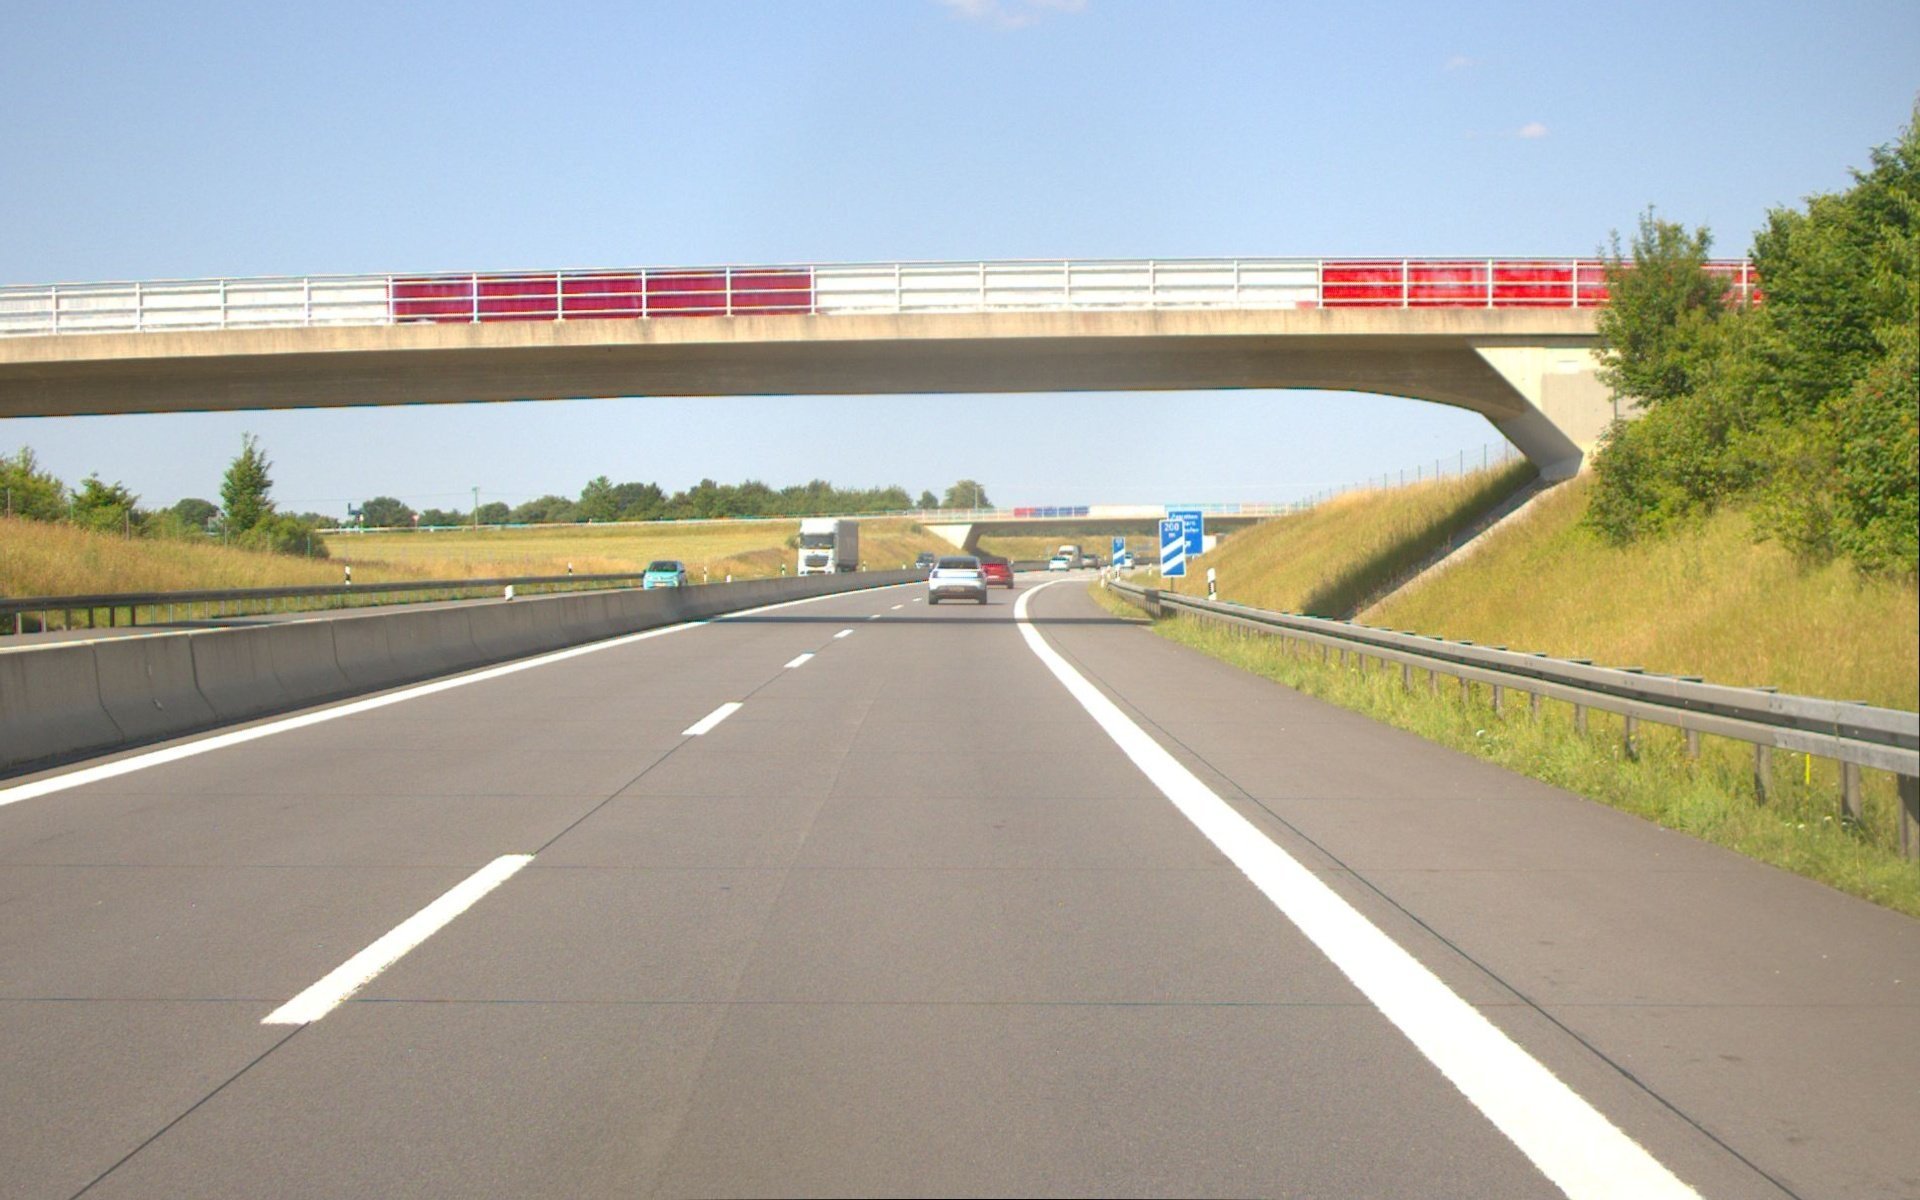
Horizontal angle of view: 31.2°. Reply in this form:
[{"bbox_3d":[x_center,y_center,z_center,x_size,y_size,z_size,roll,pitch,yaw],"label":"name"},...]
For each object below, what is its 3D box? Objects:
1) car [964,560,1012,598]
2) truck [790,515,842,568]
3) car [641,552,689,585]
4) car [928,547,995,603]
[{"bbox_3d":[1.368,-0.993,163.668,1.994,1.725,4.869,-1,1,3],"label":"car"},{"bbox_3d":[-9.843,-3.974,235.699,2.669,3.556,8.170,0,1,4],"label":"truck"},{"bbox_3d":[-13.082,-1.402,152.718,1.660,1.448,4.000,0,1,2],"label":"car"},{"bbox_3d":[0.017,-0.820,110.633,1.993,1.725,4.869,-1,1,-1],"label":"car"}]
